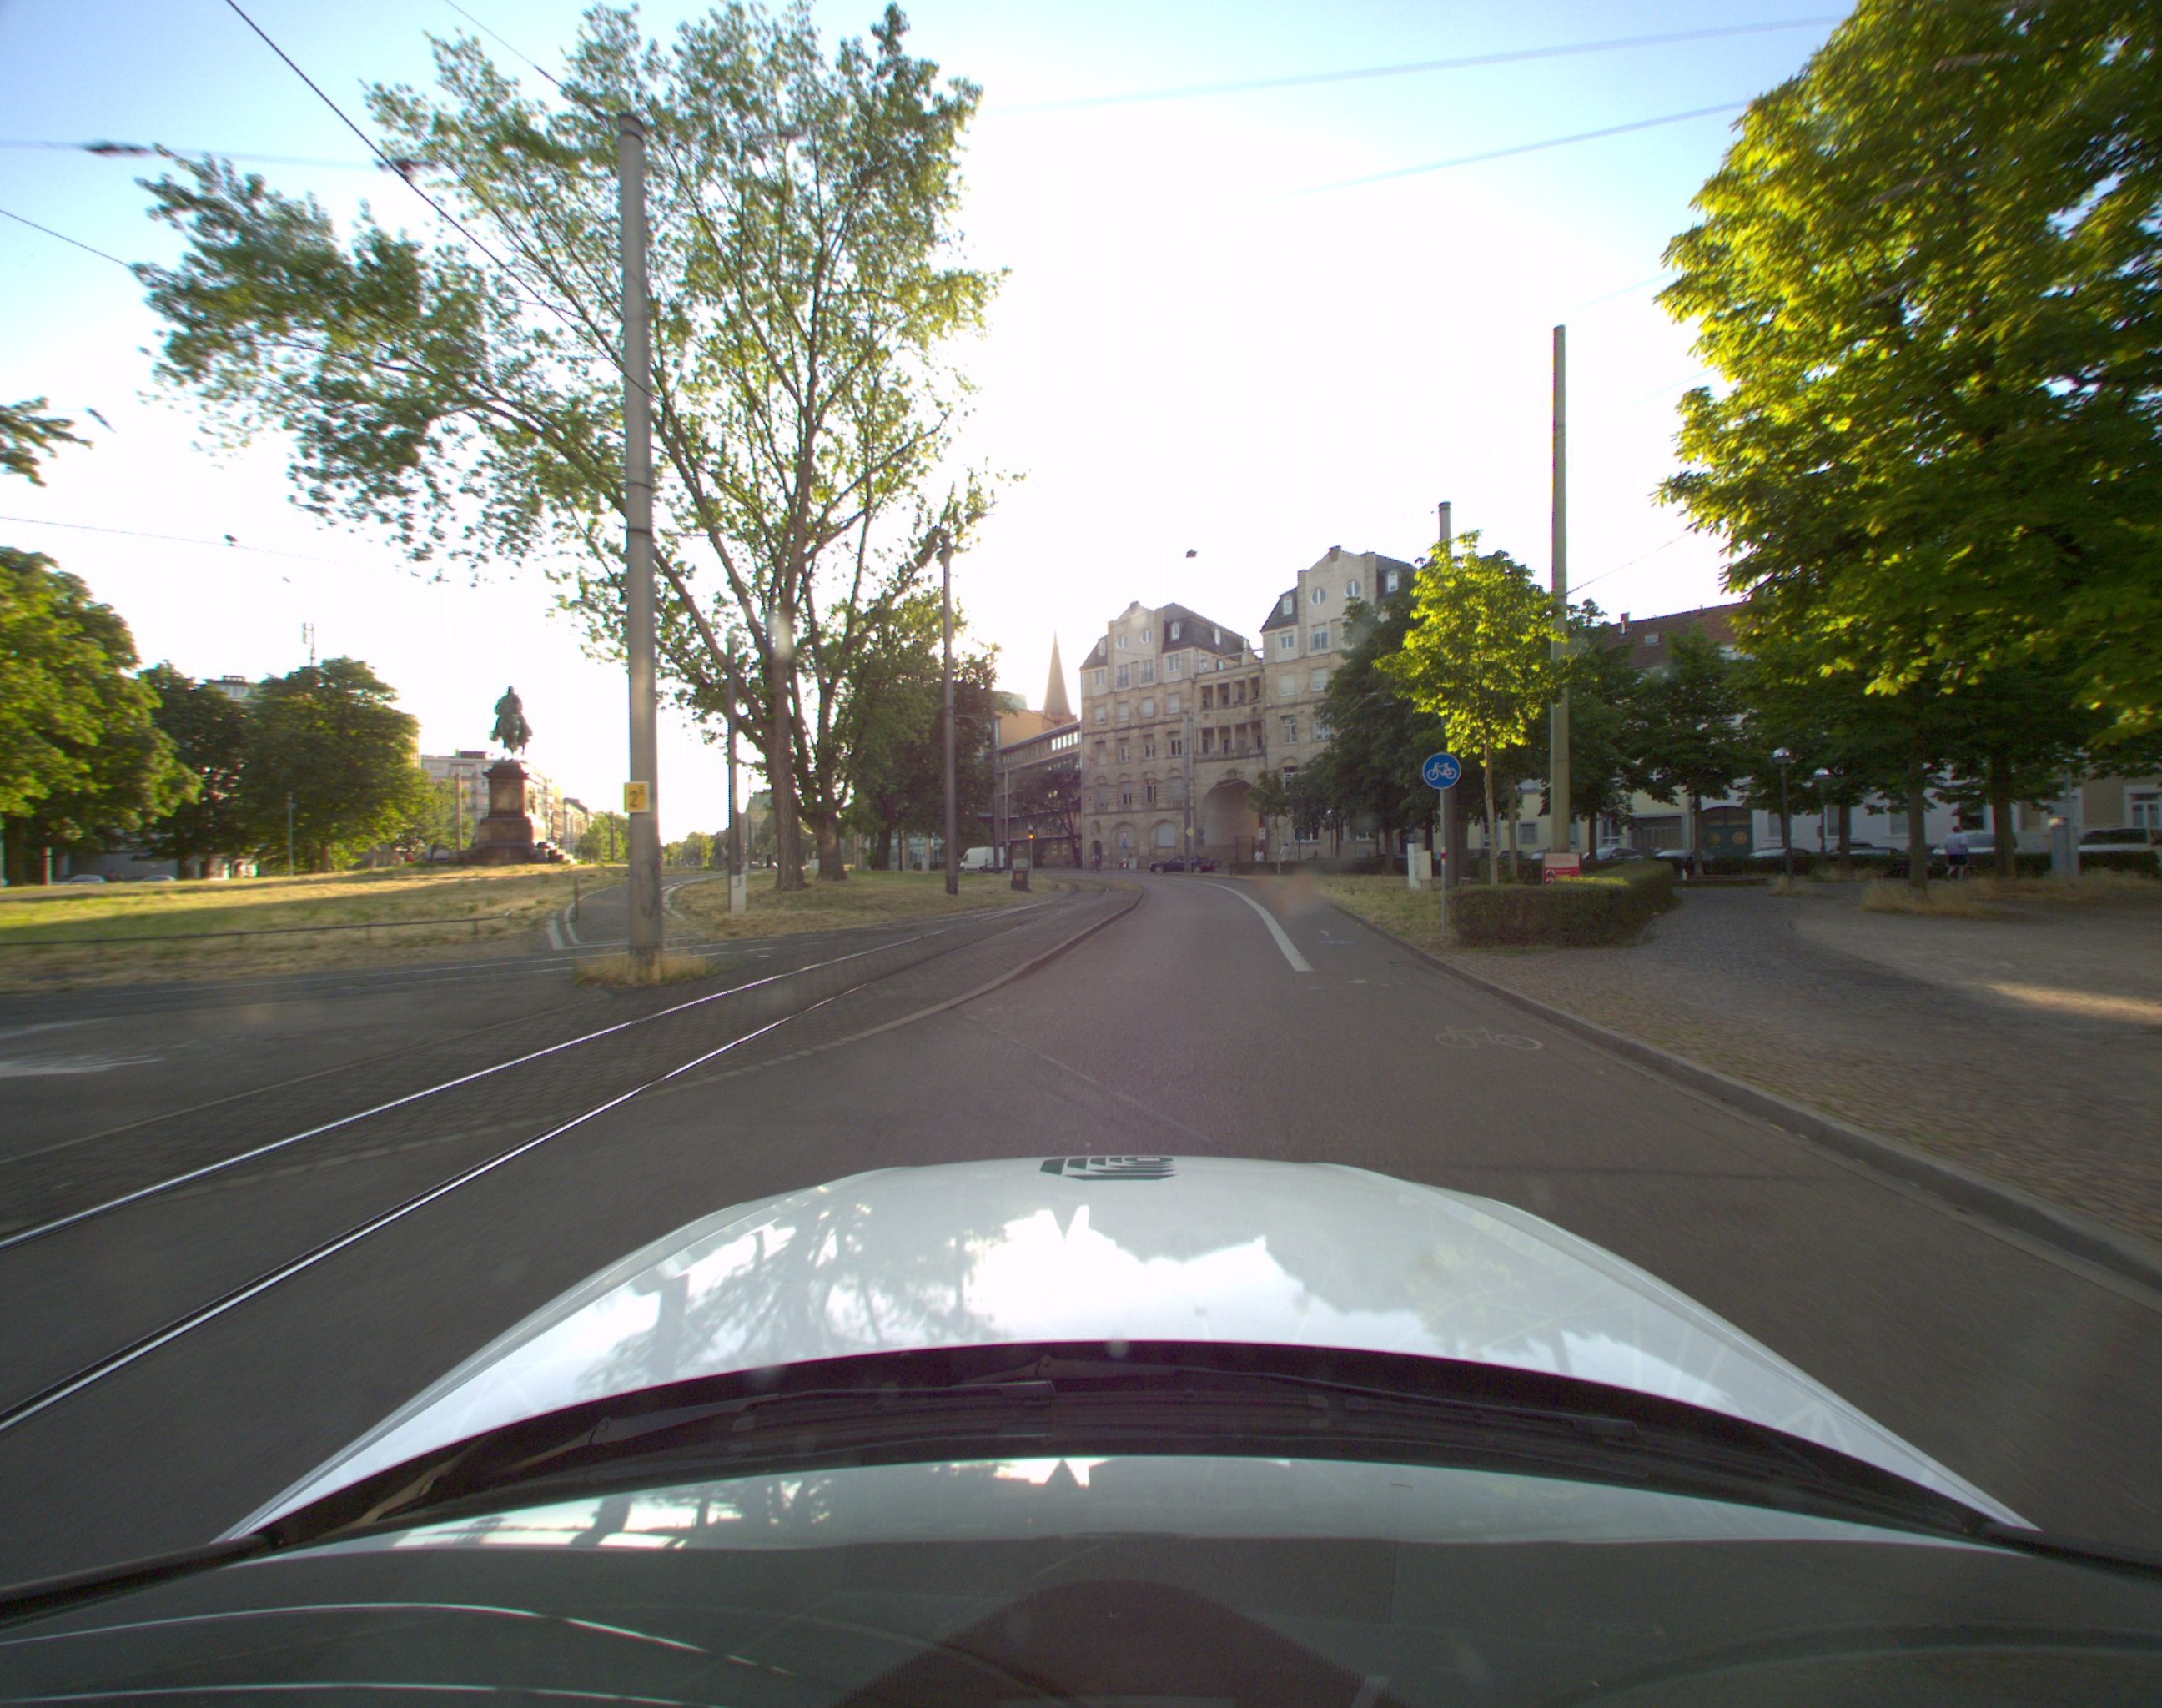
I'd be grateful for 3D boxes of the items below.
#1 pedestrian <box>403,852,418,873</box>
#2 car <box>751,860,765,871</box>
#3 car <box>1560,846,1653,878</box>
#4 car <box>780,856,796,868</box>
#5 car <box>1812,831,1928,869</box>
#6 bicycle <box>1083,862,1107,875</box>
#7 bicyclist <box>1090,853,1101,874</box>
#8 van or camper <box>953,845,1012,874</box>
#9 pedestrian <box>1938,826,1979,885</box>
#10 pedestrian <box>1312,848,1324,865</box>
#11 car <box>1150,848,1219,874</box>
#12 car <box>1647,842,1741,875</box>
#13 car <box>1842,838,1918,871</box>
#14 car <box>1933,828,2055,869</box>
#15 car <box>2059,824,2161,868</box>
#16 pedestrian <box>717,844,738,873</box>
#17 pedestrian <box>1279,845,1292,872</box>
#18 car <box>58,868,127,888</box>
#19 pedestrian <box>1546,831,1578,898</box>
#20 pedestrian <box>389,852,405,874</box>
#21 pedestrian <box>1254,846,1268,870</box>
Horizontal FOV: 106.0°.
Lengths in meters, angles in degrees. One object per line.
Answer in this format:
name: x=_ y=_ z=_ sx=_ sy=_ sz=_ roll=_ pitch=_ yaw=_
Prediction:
pedestrian: x=-50.400 y=0.628 z=61.202 sx=0.774 sy=1.606 sz=0.632 roll=-1 pitch=0 yaw=-33
car: x=-64.943 y=2.306 z=163.658 sx=2.150 sy=2.013 sz=3.965 roll=-1 pitch=0 yaw=-26
car: x=25.109 y=0.381 z=38.913 sx=4.341 sy=1.426 sz=1.845 roll=-1 pitch=-1 yaw=-28
car: x=-48.684 y=1.280 z=135.318 sx=2.150 sy=2.013 sz=3.965 roll=-1 pitch=0 yaw=-26
car: x=31.406 y=-0.162 z=32.423 sx=4.476 sy=1.426 sz=1.846 roll=-1 pitch=-1 yaw=-25
bicycle: x=1.122 y=1.142 z=64.627 sx=0.513 sy=0.978 sz=2.215 roll=-1 pitch=0 yaw=-43
bicyclist: x=1.140 y=0.745 z=64.604 sx=0.513 sy=1.642 sz=0.766 roll=-1 pitch=0 yaw=-43
van or camper: x=-9.165 y=0.473 z=75.575 sx=2.628 sy=2.472 sz=6.250 roll=-2 pitch=1 yaw=-37
pedestrian: x=26.691 y=0.042 z=24.771 sx=1.012 sy=1.749 sz=0.761 roll=-1 pitch=0 yaw=-39
pedestrian: x=18.600 y=0.181 z=63.799 sx=0.678 sy=1.368 sz=0.639 roll=-1 pitch=0 yaw=41
car: x=7.589 y=0.511 z=59.599 sx=4.717 sy=1.761 sz=1.828 roll=-1 pitch=0 yaw=16
car: x=28.299 y=0.168 z=37.574 sx=4.341 sy=1.426 sz=1.845 roll=-1 pitch=0 yaw=-28
car: x=40.280 y=0.016 z=41.038 sx=4.016 sy=1.564 sz=1.979 roll=-1 pitch=0 yaw=-34
car: x=34.516 y=-0.209 z=30.775 sx=4.476 sy=1.426 sz=1.846 roll=-1 pitch=-1 yaw=-25
car: x=36.438 y=-0.266 z=28.583 sx=4.341 sy=1.426 sz=1.845 roll=-1 pitch=-1 yaw=-28
pedestrian: x=-19.714 y=0.229 z=45.418 sx=0.631 sy=1.606 sz=0.776 roll=-1 pitch=0 yaw=21
pedestrian: x=11.947 y=0.260 z=47.571 sx=0.627 sy=1.511 sz=0.691 roll=-1 pitch=0 yaw=22
car: x=-77.494 y=1.850 z=63.936 sx=1.886 sy=1.420 sz=3.894 roll=-1 pitch=0 yaw=-24
pedestrian: x=14.868 y=0.317 z=25.165 sx=0.822 sy=2.013 sz=0.643 roll=-1 pitch=0 yaw=-44
pedestrian: x=-51.447 y=0.650 z=61.247 sx=0.774 sy=1.606 sz=0.632 roll=-1 pitch=0 yaw=-33
pedestrian: x=11.387 y=0.230 z=51.455 sx=0.586 sy=1.511 sz=0.691 roll=-1 pitch=0 yaw=39
